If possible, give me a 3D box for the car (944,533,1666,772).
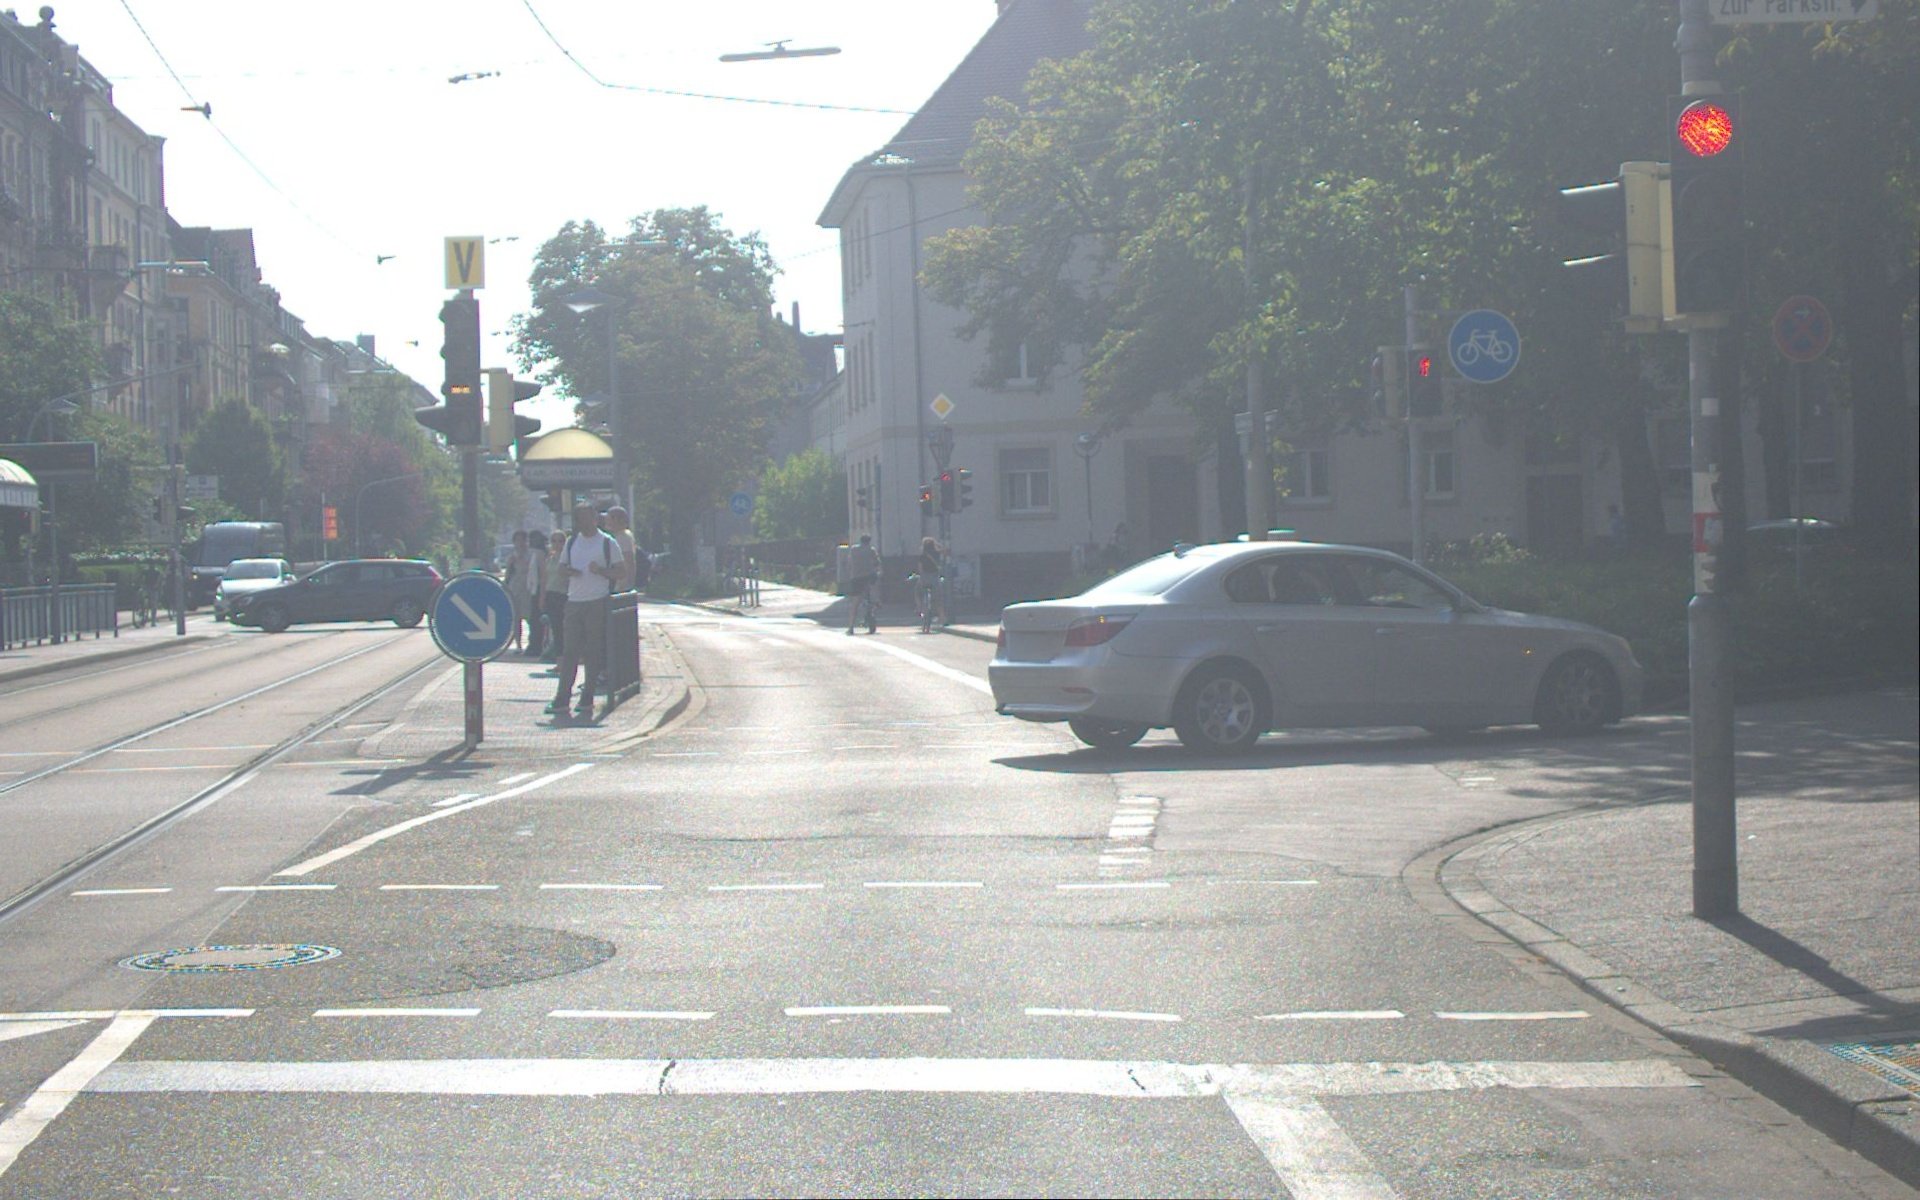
[{"bbox_3d":[2.461,0.320,24.400,4.770,1.461,1.870,-2,1,-24],"label":"car"}]

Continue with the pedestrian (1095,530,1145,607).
[{"bbox_3d":[3.650,-0.721,78.377,0.892,1.734,0.775,-1,1,22],"label":"pedestrian"}]

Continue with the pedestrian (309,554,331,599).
[{"bbox_3d":[-24.921,-0.929,133.953,0.749,1.725,0.772,-2,1,-14],"label":"pedestrian"}]

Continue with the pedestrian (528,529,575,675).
[{"bbox_3d":[-5.030,0.018,42.346,0.543,1.753,0.534,1,3,-5],"label":"pedestrian"}]

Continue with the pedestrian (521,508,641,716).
[{"bbox_3d":[-3.248,0.090,29.465,0.701,1.719,0.747,3,3,28],"label":"pedestrian"}]

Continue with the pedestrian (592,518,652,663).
[{"bbox_3d":[-4.186,-0.119,42.598,0.708,1.753,0.534,1,3,-5],"label":"pedestrian"}]

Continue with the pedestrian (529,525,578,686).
[{"bbox_3d":[-4.533,0.058,38.363,0.504,1.753,0.534,1,3,-5],"label":"pedestrian"}]

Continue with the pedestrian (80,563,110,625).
[{"bbox_3d":[-24.230,-0.166,96.327,0.749,1.725,0.772,-2,1,-14],"label":"pedestrian"}]

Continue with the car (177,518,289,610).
[{"bbox_3d":[-22.020,-1.115,104.283,2.347,2.653,5.105,-2,1,-1],"label":"car"}]

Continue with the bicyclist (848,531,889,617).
[{"bbox_3d":[-1.637,-0.472,61.236,0.629,1.502,0.679,-2,1,-7],"label":"bicyclist"}]

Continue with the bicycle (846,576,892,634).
[{"bbox_3d":[-1.628,0.078,61.246,0.629,0.974,1.770,-2,1,-7],"label":"bicycle"}]

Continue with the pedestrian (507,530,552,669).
[{"bbox_3d":[-5.577,-0.012,44.538,0.532,1.753,0.545,1,3,-4],"label":"pedestrian"}]

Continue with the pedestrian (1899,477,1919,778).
[{"bbox_3d":[5.903,0.148,19.576,0.749,1.725,0.772,-2,1,-14],"label":"pedestrian"}]

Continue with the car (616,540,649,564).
[{"bbox_3d":[-24.799,-3.623,260.359,1.993,1.777,4.000,0,1,2],"label":"car"}]

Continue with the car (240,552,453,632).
[{"bbox_3d":[-12.970,-0.183,72.960,4.321,1.564,2.000,-2,1,-7],"label":"car"}]

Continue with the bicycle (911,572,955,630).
[{"bbox_3d":[-0.488,0.013,60.729,0.558,0.974,1.857,-2,1,-7],"label":"bicycle"}]

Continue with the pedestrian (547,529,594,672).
[{"bbox_3d":[-4.891,0.001,43.168,0.543,1.753,0.534,1,3,-5],"label":"pedestrian"}]

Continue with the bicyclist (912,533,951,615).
[{"bbox_3d":[-0.510,-0.466,60.734,0.558,1.412,0.872,-2,1,-7],"label":"bicyclist"}]

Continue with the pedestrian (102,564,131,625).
[{"bbox_3d":[-24.436,-0.168,99.619,0.749,1.725,0.772,-2,1,-14],"label":"pedestrian"}]

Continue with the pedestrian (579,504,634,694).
[{"bbox_3d":[-3.464,-0.015,33.727,0.504,1.827,0.534,1,3,-5],"label":"pedestrian"}]

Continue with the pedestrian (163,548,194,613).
[{"bbox_3d":[-20.932,-0.522,92.069,0.749,1.725,0.772,-2,1,-14],"label":"pedestrian"}]

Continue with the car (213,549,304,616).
[{"bbox_3d":[-18.183,-0.471,89.218,1.801,1.648,3.643,-2,1,-4],"label":"car"}]

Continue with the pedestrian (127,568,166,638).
[{"bbox_3d":[-20.292,0.067,85.761,0.750,1.725,0.772,-2,1,-3],"label":"pedestrian"}]
